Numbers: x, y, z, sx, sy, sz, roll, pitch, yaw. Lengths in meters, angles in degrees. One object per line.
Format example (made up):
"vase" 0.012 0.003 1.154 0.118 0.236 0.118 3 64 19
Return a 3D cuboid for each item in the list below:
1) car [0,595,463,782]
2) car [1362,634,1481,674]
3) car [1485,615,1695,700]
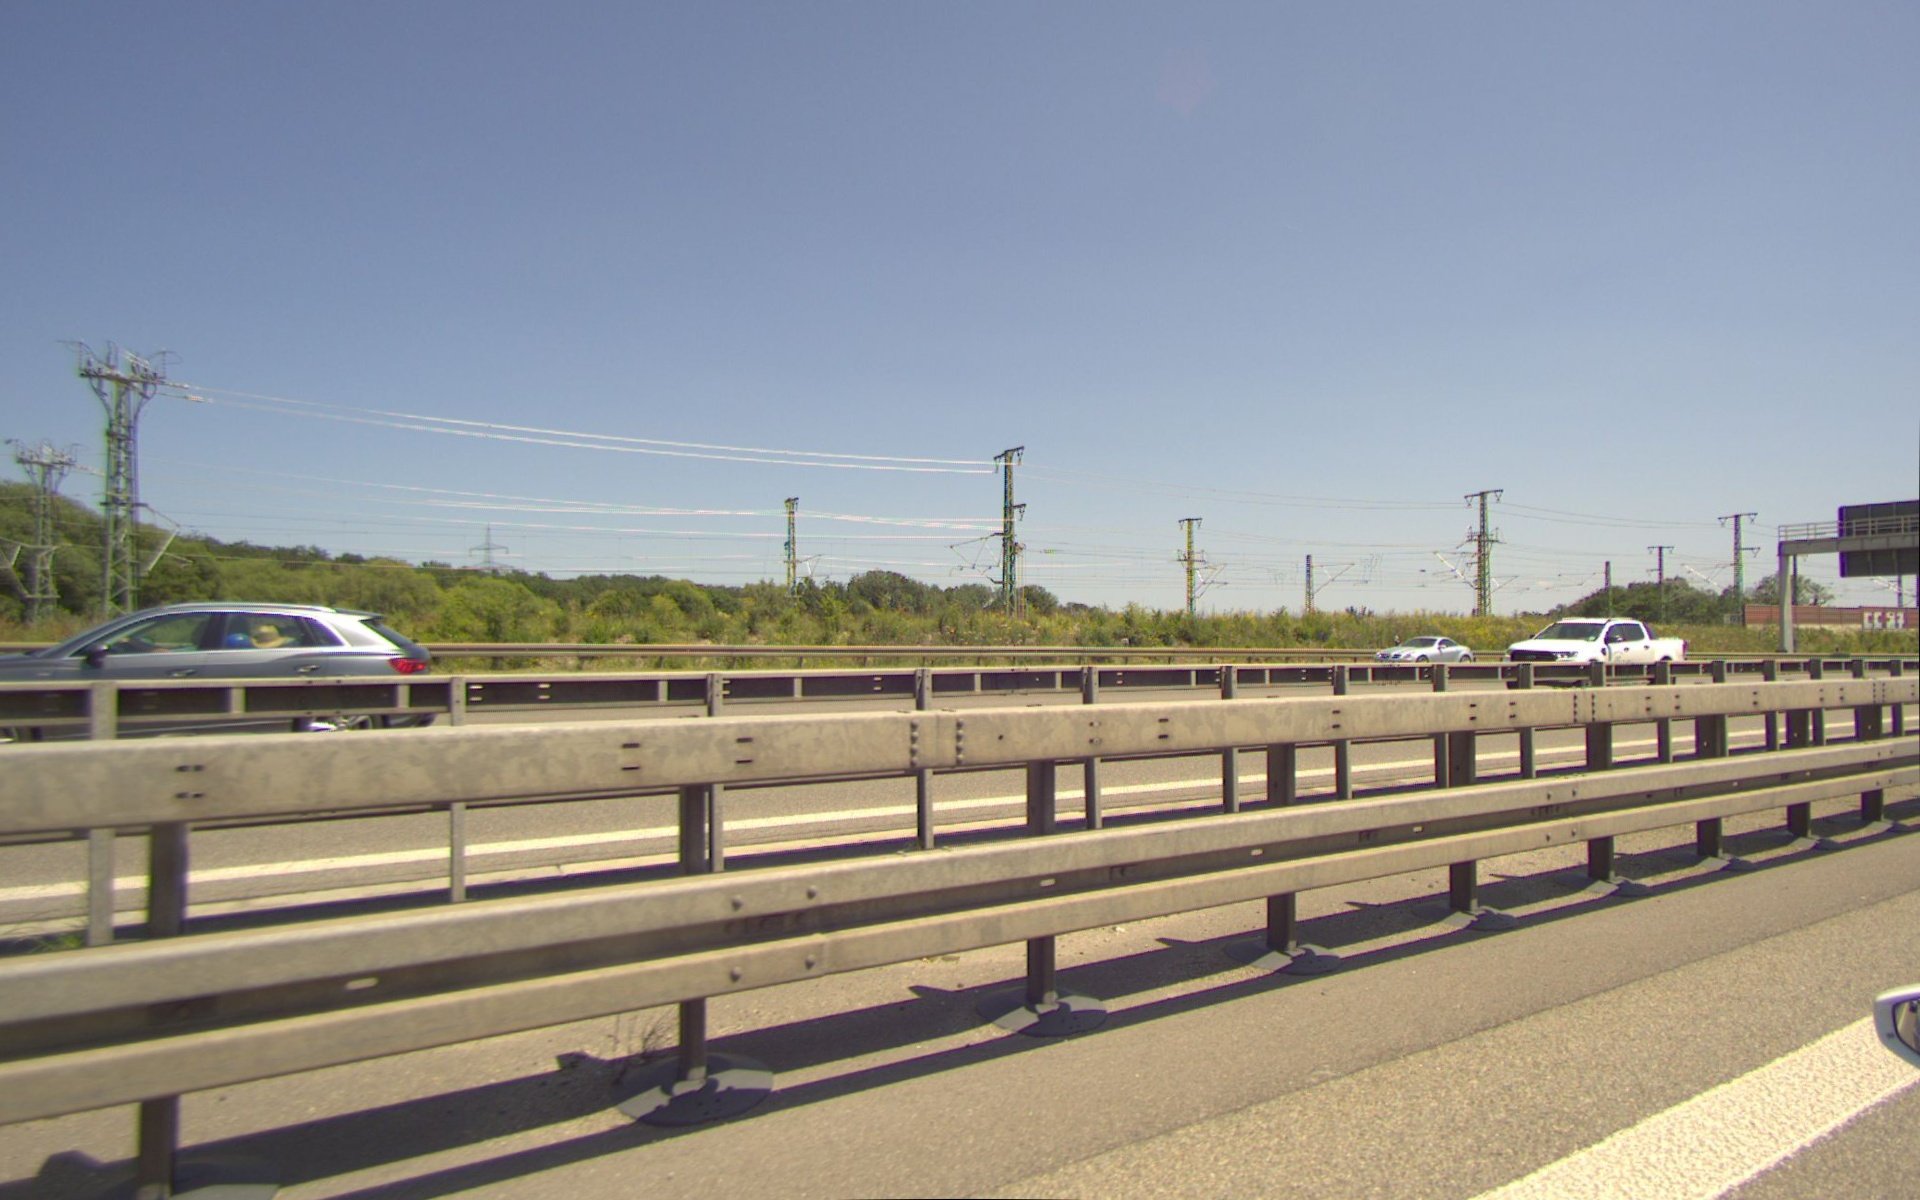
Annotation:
"car" -7.596 0.800 10.098 4.499 1.595 1.983 2 -1 -31
"car" 16.880 1.956 36.704 4.115 1.329 1.984 2 -1 -31
"car" 15.206 1.336 24.157 5.534 1.855 1.984 2 -1 -31
